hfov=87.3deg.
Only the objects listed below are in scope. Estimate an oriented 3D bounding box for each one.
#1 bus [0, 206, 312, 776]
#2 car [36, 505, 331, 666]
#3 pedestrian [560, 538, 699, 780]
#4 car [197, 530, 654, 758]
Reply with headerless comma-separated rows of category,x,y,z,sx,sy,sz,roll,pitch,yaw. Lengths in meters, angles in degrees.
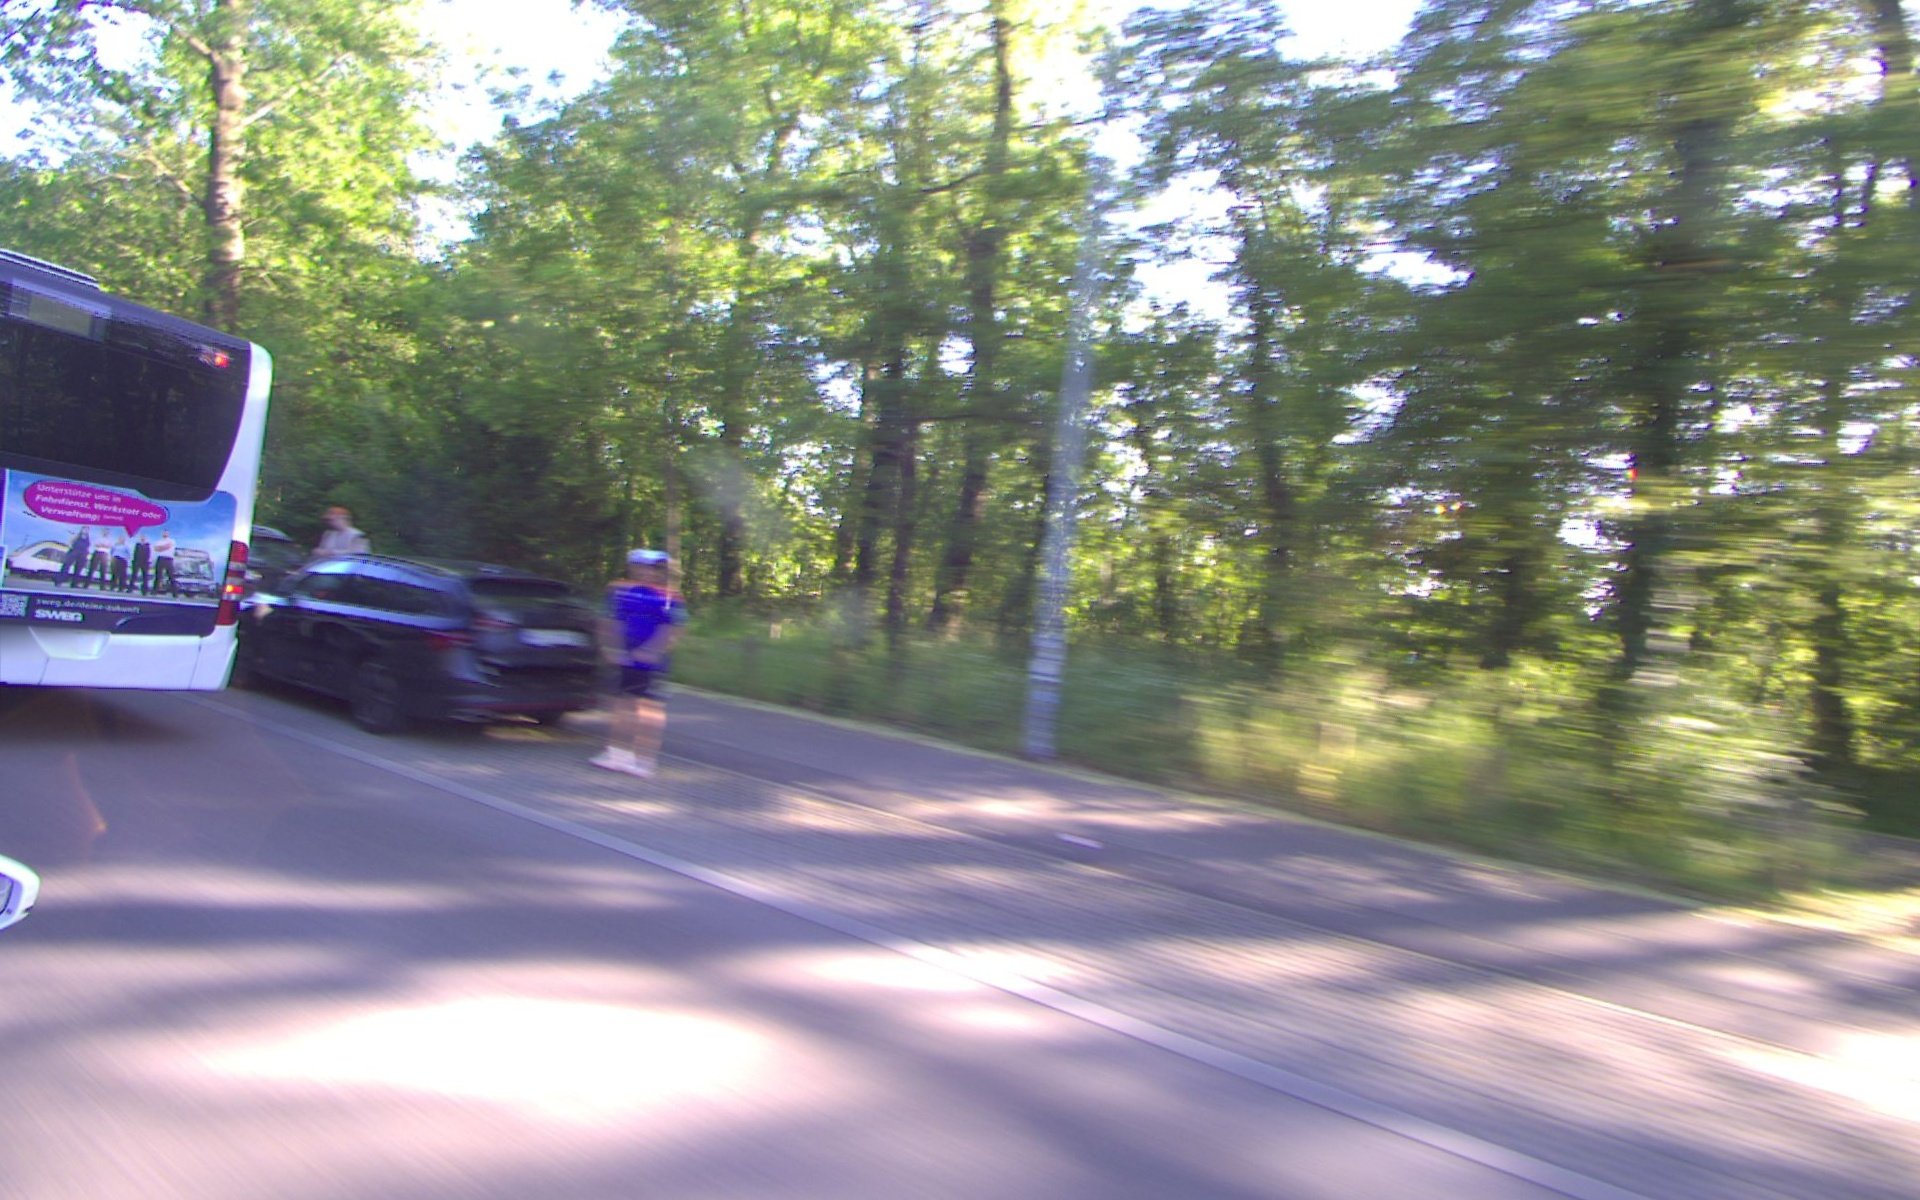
bus,-10.499,-1.149,9.200,12.078,3.261,2.707,6,-1,33
car,-9.606,-0.222,12.371,3.845,1.542,1.595,7,2,32
pedestrian,-2.609,0.448,7.961,0.722,1.779,0.513,7,2,19
car,-5.162,0.281,9.517,4.461,1.453,1.852,7,2,33
